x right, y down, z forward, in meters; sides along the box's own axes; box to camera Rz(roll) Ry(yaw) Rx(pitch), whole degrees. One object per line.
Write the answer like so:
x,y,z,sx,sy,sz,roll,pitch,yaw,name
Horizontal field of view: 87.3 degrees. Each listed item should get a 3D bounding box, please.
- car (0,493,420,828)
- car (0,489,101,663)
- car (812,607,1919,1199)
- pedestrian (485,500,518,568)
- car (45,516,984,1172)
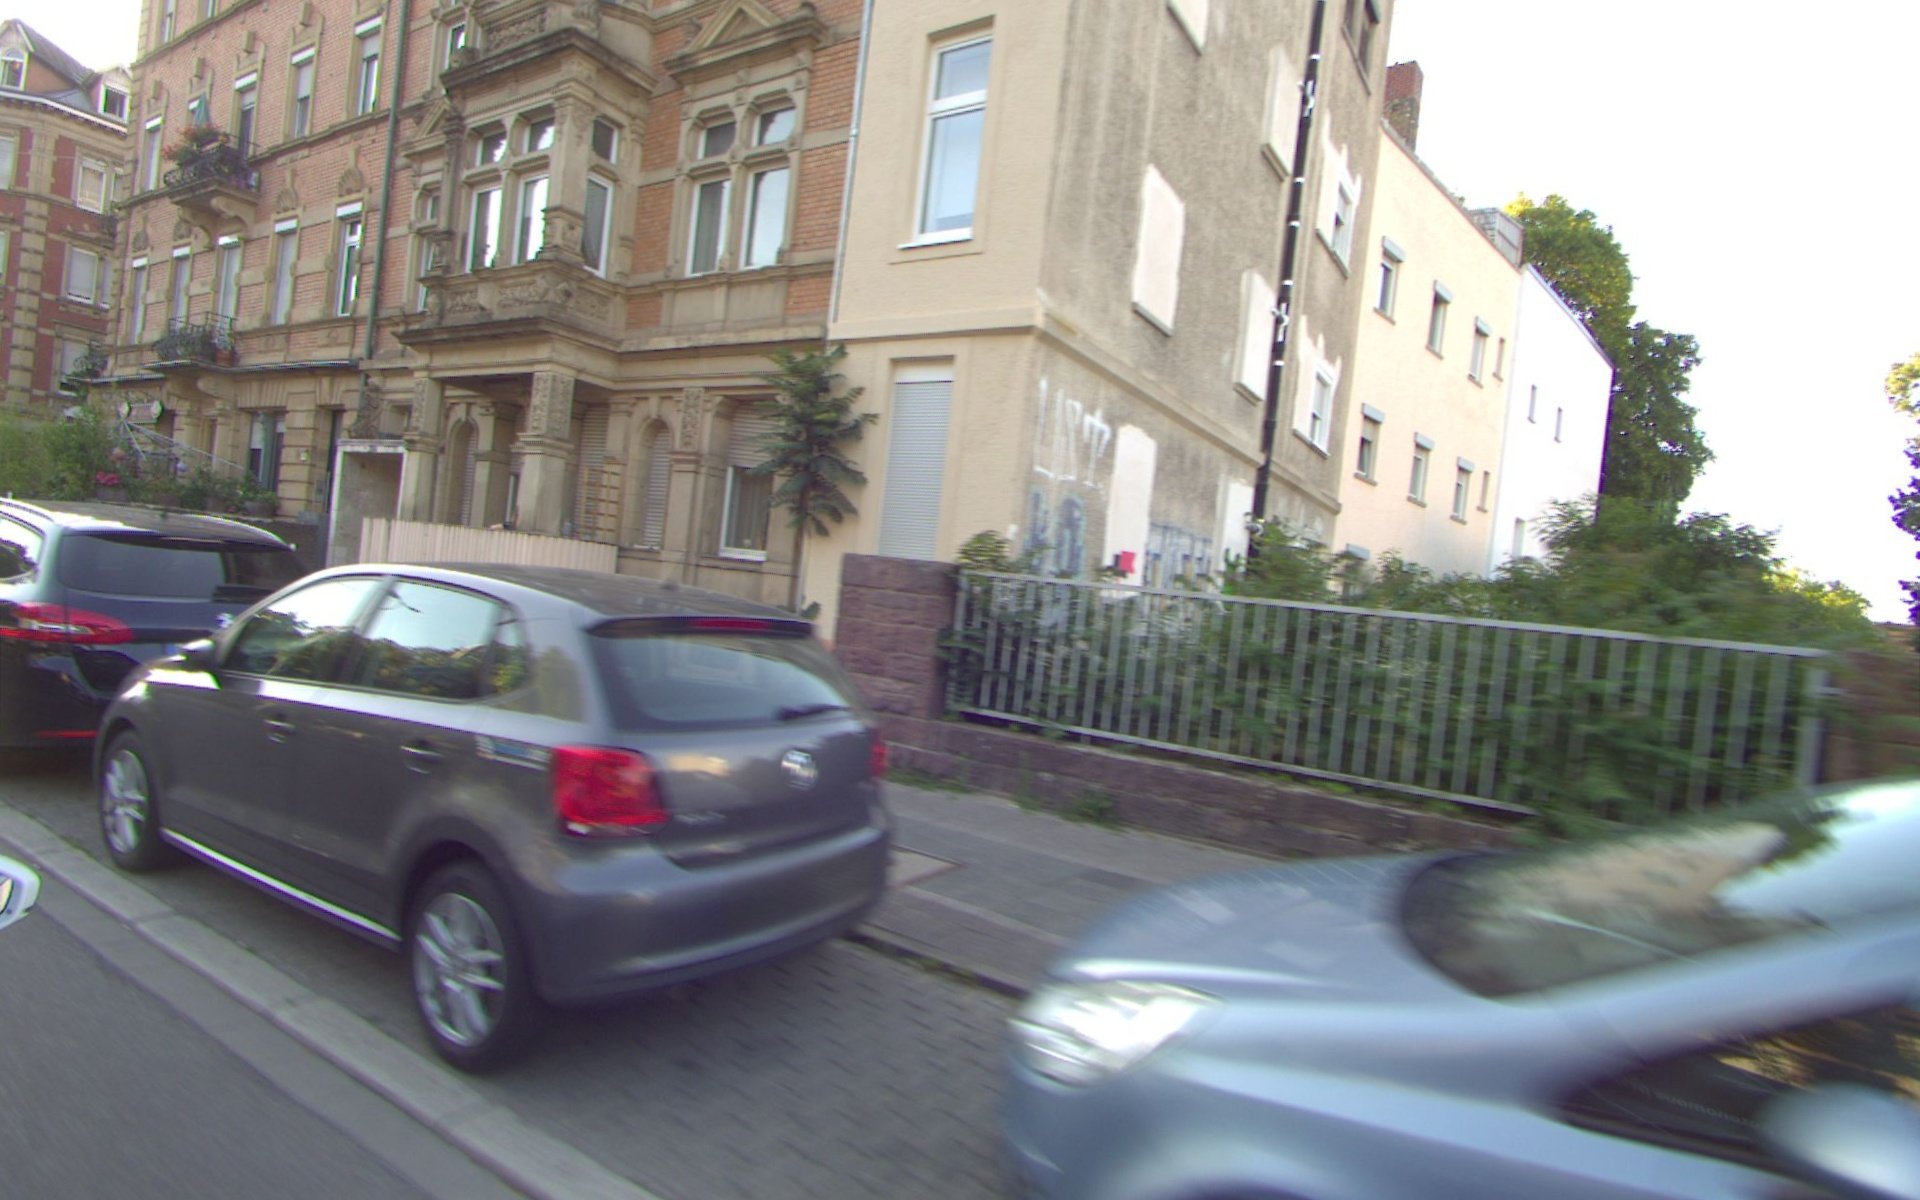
-5.700,0.118,6.547,4.390,1.468,1.887,7,3,32,car
-10.043,-0.396,9.412,4.271,1.446,1.887,7,3,33,car
1.799,0.960,1.756,3.827,1.508,1.700,7,3,31,car
-6.301,-0.904,13.834,0.306,0.880,0.318,8,-1,-25,pedestrian
-2.011,0.543,4.223,3.776,1.446,1.746,7,3,32,car
